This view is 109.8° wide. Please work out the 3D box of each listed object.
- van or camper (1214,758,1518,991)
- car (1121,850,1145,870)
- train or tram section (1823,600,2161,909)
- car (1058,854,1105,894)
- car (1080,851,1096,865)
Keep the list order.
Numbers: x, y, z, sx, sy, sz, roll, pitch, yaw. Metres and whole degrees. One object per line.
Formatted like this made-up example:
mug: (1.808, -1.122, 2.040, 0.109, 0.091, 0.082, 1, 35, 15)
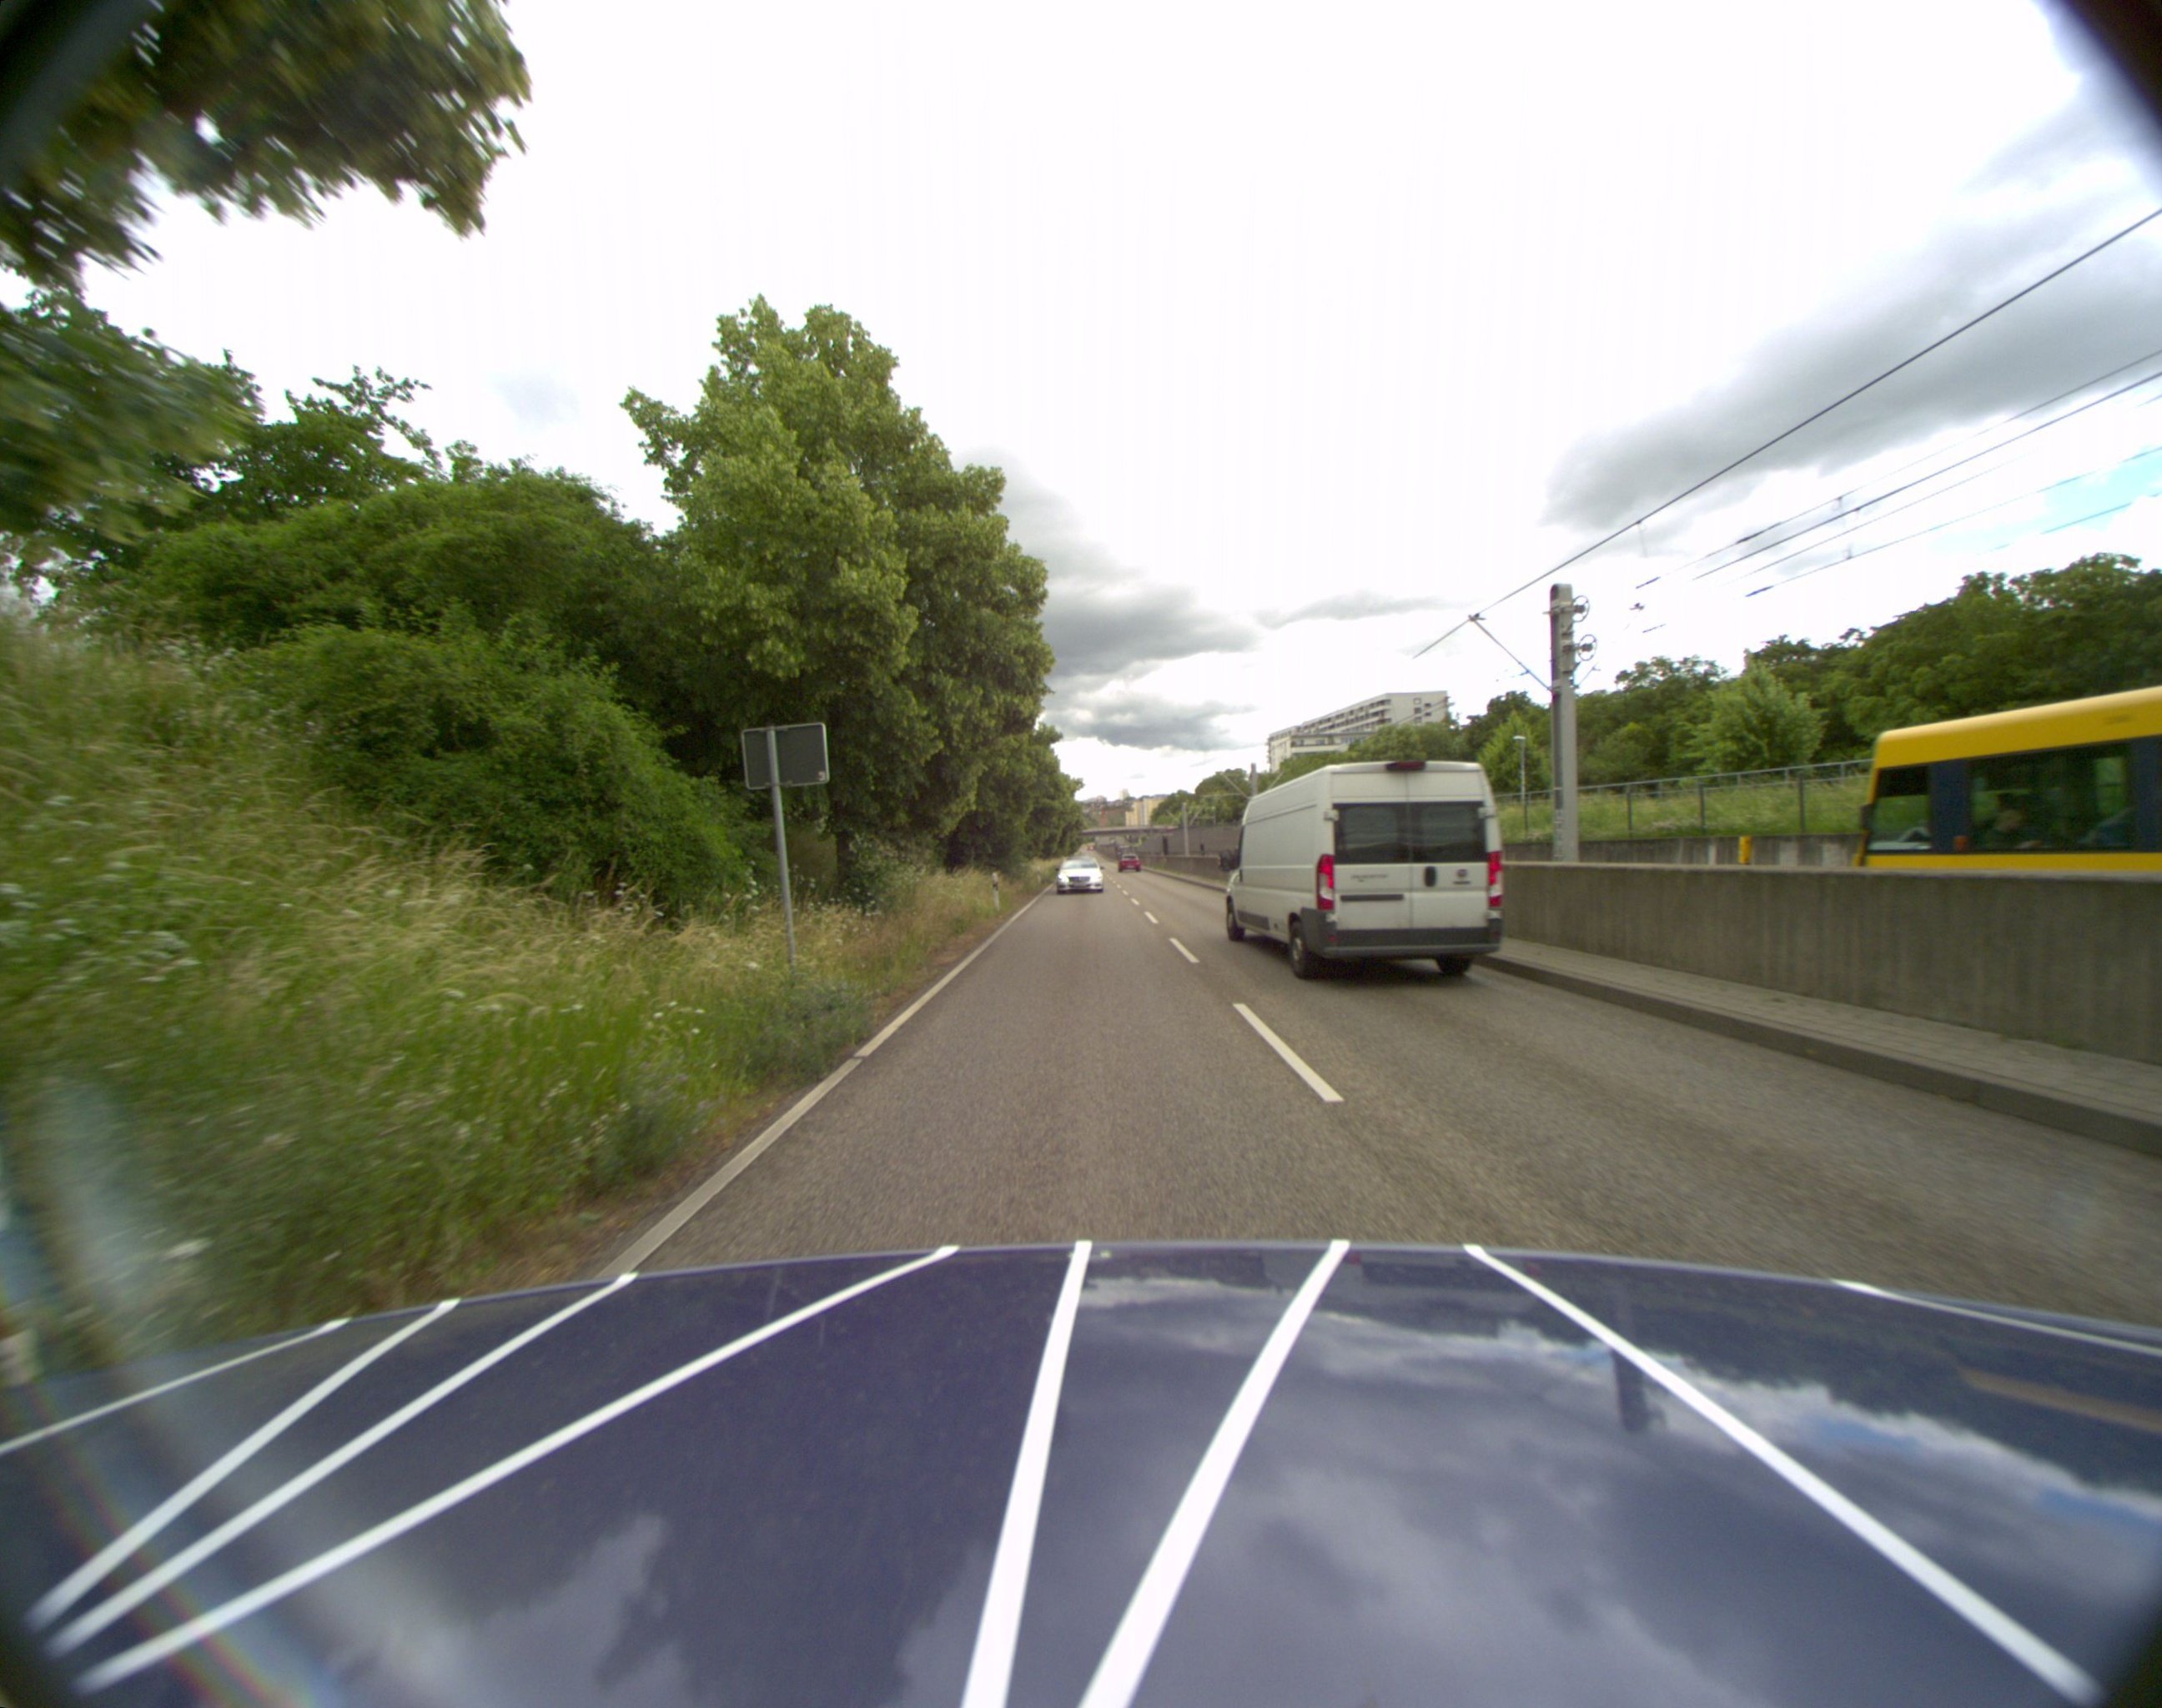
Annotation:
van or camper: (3.538, 0.202, 11.062, 2.088, 2.382, 6.136, -2, 0, 0)
car: (4.273, 0.487, 63.077, 1.667, 1.536, 3.952, -2, 0, 0)
train or tram section: (12.283, -0.925, 1.681, 2.819, 3.099, 18.910, -2, 1, 0)
car: (0.037, 0.777, 32.072, 1.842, 1.499, 4.160, -1, 1, 1)
car: (0.991, 0.556, 101.113, 1.998, 1.746, 4.000, -2, 1, 1)
